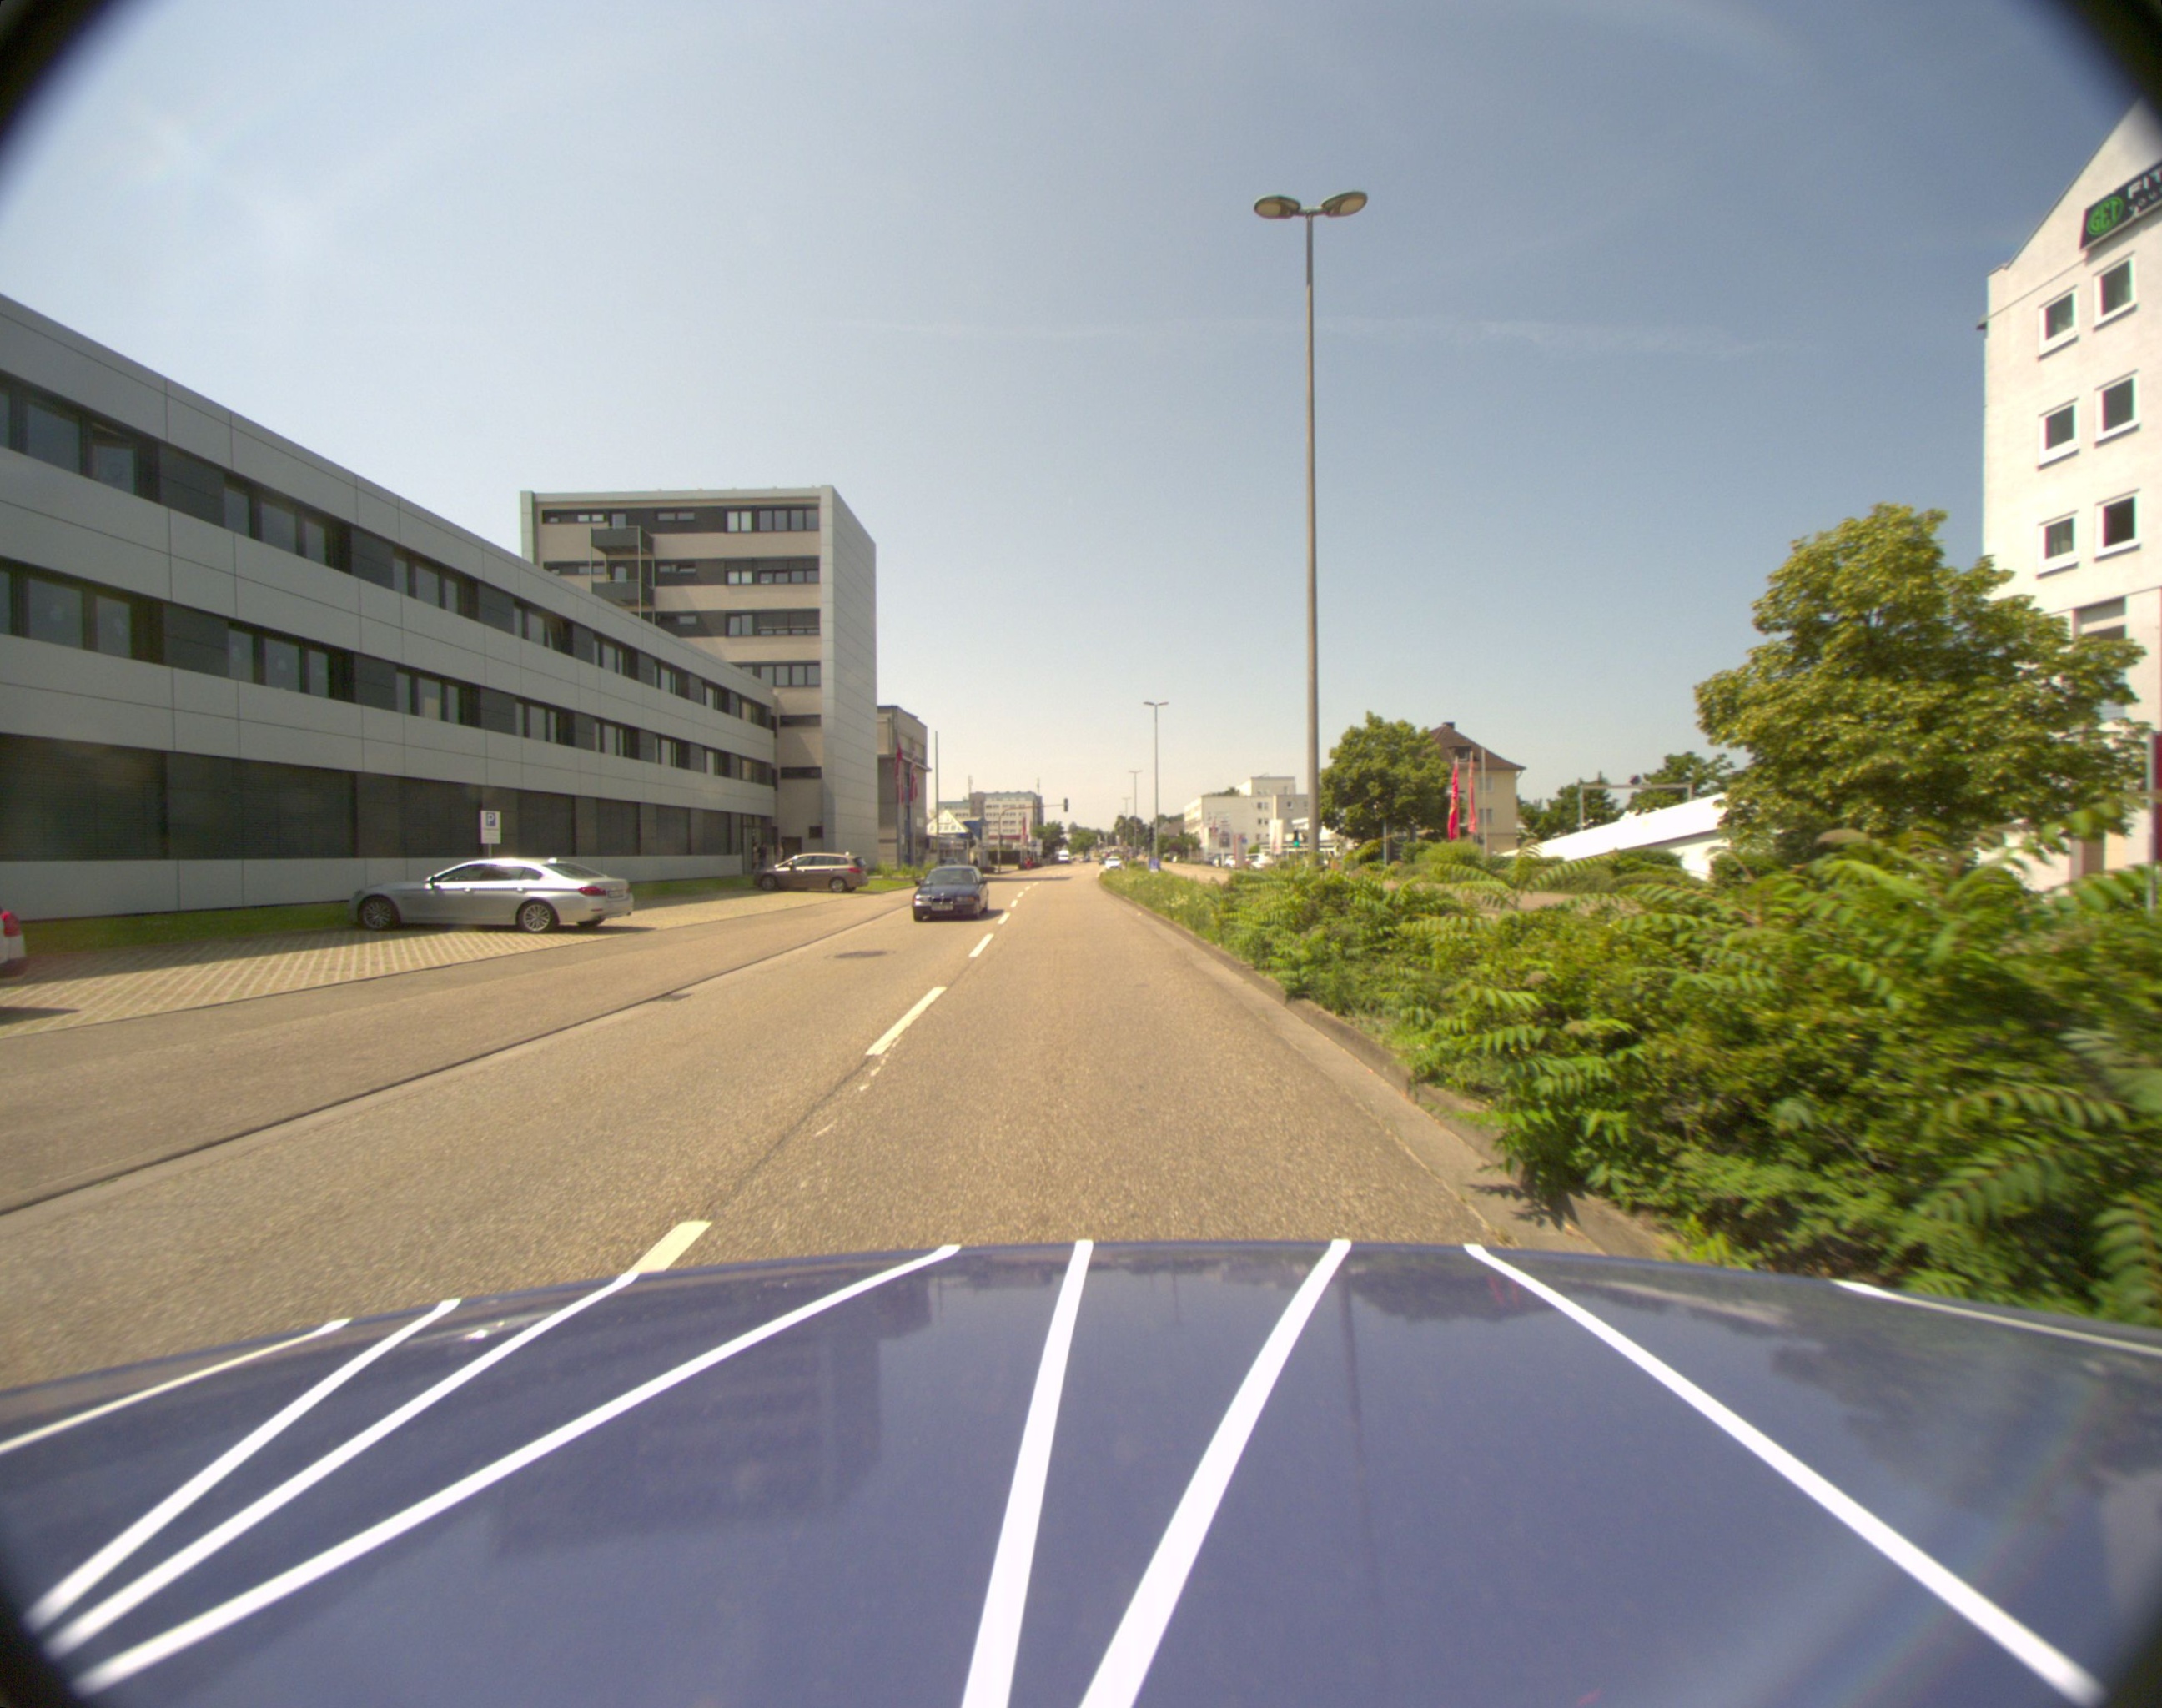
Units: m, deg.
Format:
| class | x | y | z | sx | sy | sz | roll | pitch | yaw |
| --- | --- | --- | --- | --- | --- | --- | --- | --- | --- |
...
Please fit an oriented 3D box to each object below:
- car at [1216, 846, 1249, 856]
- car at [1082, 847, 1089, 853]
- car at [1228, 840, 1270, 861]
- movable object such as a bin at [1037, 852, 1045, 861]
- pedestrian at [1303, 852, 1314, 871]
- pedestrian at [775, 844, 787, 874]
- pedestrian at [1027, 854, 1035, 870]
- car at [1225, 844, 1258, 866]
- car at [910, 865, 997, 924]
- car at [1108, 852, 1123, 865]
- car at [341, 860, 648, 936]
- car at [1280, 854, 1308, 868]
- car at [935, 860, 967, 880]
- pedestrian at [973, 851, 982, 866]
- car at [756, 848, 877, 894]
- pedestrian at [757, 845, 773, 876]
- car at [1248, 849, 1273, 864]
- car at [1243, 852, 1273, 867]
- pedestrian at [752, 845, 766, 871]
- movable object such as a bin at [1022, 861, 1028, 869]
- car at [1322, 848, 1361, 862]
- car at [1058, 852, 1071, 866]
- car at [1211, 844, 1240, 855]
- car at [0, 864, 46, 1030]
| class | x | y | z | sx | sy | sz | roll | pitch | yaw |
| --- | --- | --- | --- | --- | --- | --- | --- | --- | --- |
| car | 20.546 | -0.422 | 103.141 | 3.997 | 1.386 | 1.860 | 0 | 1 | 1 |
| car | 1.262 | -1.176 | 201.250 | 1.866 | 1.550 | 4.000 | 0 | 1 | 1 |
| car | 20.176 | -0.462 | 91.580 | 4.557 | 1.699 | 1.760 | -11 | 0 | 5 |
| movable object such as a bin | -6.760 | 0.370 | 128.060 | 1.133 | 1.461 | 1.489 | 0 | 1 | 3 |
| pedestrian | 20.528 | 0.649 | 68.533 | 0.742 | 1.737 | 1.034 | 0 | 1 | 5 |
| pedestrian | -16.402 | 0.261 | 41.584 | 0.523 | 1.653 | 0.756 | 0 | 1 | -15 |
| pedestrian | -5.709 | 0.878 | 86.816 | 0.787 | 1.836 | 0.936 | 0 | 1 | 5 |
| car | 21.018 | 0.060 | 99.447 | 3.999 | 1.618 | 1.755 | -22 | 14 | -29 |
| car | -3.344 | 1.033 | 20.522 | 1.632 | 1.331 | 3.756 | -2 | 0 | 1 |
| car | 3.819 | 0.477 | 83.896 | 1.692 | 1.426 | 3.711 | -1 | 0 | 3 |
| car | -11.772 | 0.839 | 15.537 | 4.626 | 1.382 | 1.999 | 0 | 1 | -2 |
| car | 21.638 | 0.722 | 77.437 | 1.737 | 1.343 | 3.999 | 0 | 0 | 0 |
| car | -11.333 | 1.386 | 66.521 | 1.848 | 1.522 | 4.197 | -2 | 0 | 2 |
| pedestrian | -11.637 | 0.511 | 85.397 | 0.811 | 1.618 | 0.853 | 0 | 1 | 5 |
| car | -10.833 | 0.669 | 31.414 | 4.270 | 1.679 | 1.999 | 2 | 1 | -2 |
| pedestrian | -16.831 | 0.331 | 40.433 | 0.594 | 1.625 | 0.523 | 0 | 1 | 11 |
| car | 18.525 | 0.240 | 78.560 | 1.780 | 1.402 | 4.760 | 1 | 0 | 4 |
| car | 20.386 | 0.659 | 87.269 | 1.834 | 1.633 | 4.187 | 0 | 1 | 37 |
| pedestrian | -17.560 | 0.195 | 41.448 | 0.523 | 1.397 | 0.799 | 0 | 1 | -8 |
| movable object such as a bin | -6.186 | 1.244 | 84.578 | 0.552 | 0.914 | 0.653 | 2 | 1 | 3 |
| car | 30.692 | 0.075 | 89.669 | 3.996 | 1.606 | 1.866 | 0 | 1 | 2 |
| car | -3.432 | 0.939 | 155.905 | 2.182 | 2.757 | 7.278 | 2 | 0 | 2 |
| car | 20.577 | -0.647 | 108.300 | 3.995 | 1.599 | 1.926 | 0 | 1 | 4 |
| car | -12.307 | 0.847 | 6.707 | 3.822 | 1.583 | 1.732 | 2 | 1 | -2 |
